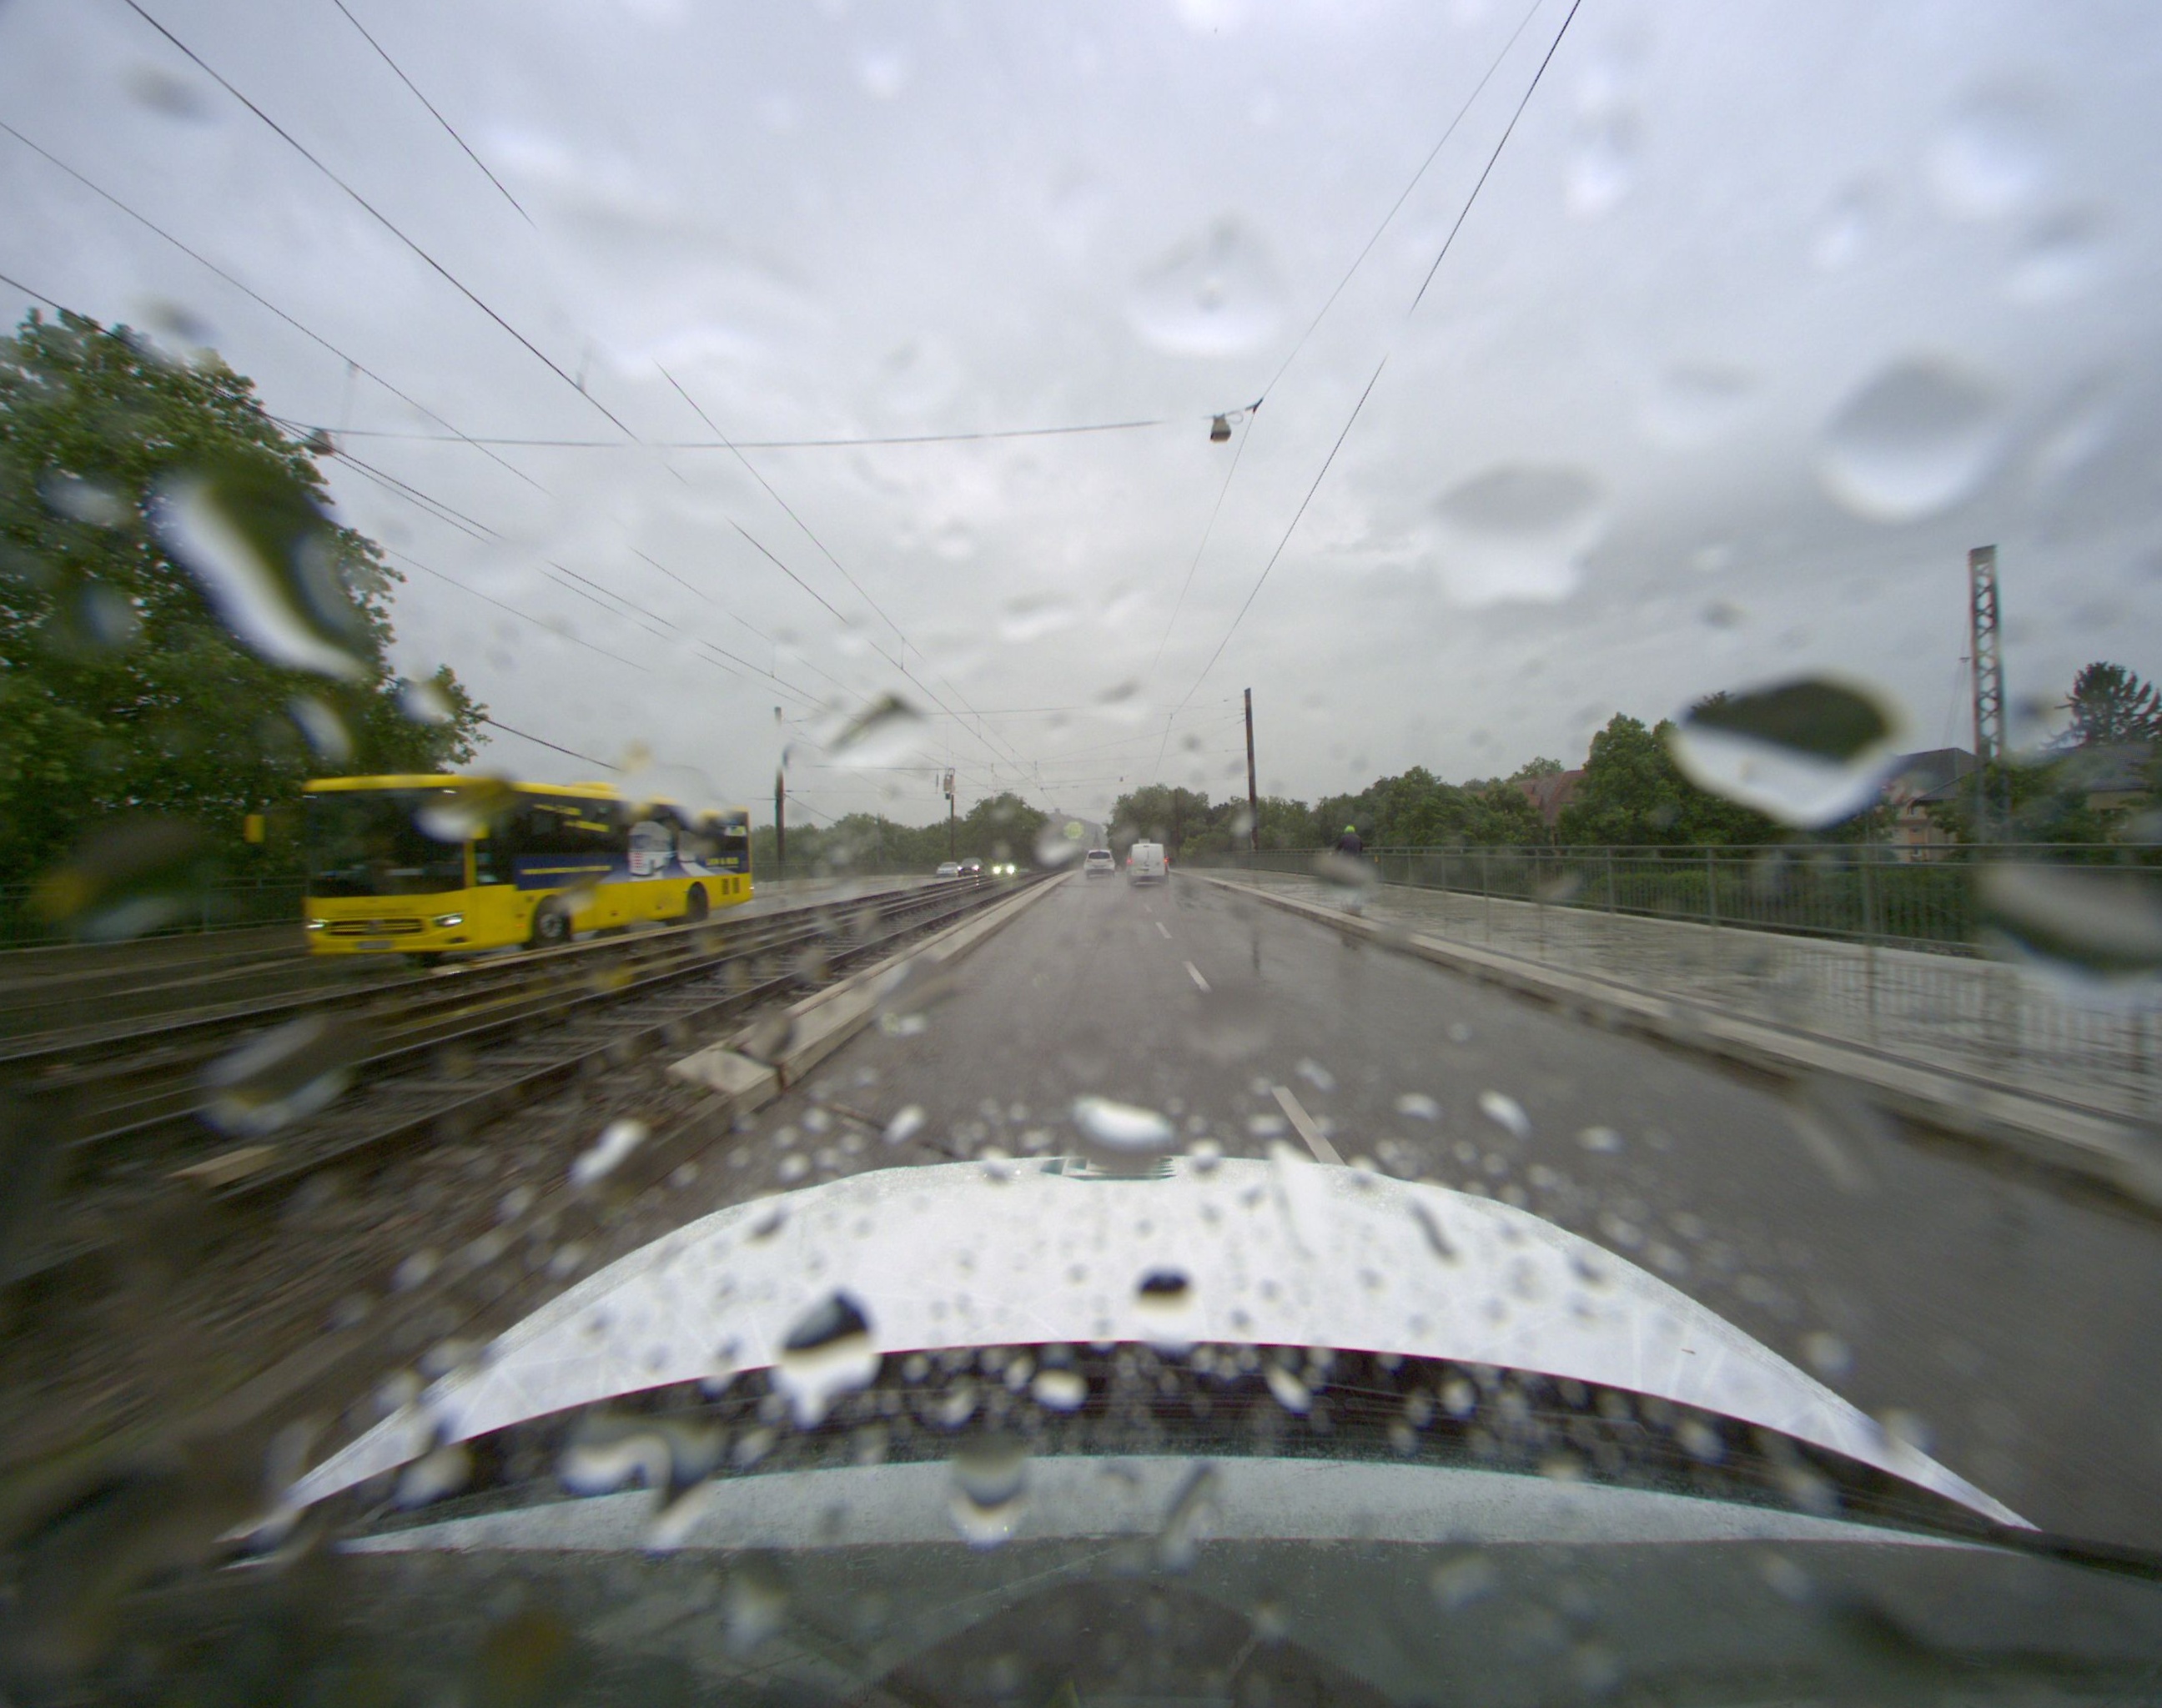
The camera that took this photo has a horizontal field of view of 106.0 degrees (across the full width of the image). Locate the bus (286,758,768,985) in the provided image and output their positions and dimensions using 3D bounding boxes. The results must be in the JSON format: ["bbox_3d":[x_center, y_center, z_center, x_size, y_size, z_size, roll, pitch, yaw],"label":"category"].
[{"bbox_3d":[-10.619,0.183,18.008,2.698,3.340,10.997,-3,1,2],"label":"bus"}]

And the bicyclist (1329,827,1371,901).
[{"bbox_3d":[6.534,0.245,19.829,0.723,1.764,0.949,0,-2,2],"label":"bicyclist"}]

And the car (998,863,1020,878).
[{"bbox_3d":[-7.899,1.859,89.733,1.988,1.509,5.111,-3,-2,-1],"label":"car"}]

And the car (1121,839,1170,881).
[{"bbox_3d":[2.767,0.290,35.007,1.985,1.726,4.004,0,-2,4],"label":"car"}]

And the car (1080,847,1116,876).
[{"bbox_3d":[1.060,0.488,49.342,1.985,1.717,4.004,0,-2,4],"label":"car"}]

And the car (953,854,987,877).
[{"bbox_3d":[-9.388,1.001,69.022,1.986,1.717,4.942,-3,-2,1],"label":"car"}]

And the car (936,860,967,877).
[{"bbox_3d":[-12.143,1.409,76.444,1.987,1.456,4.620,-3,-2,1],"label":"car"}]

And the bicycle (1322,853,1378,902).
[{"bbox_3d":[6.520,0.559,19.848,0.720,1.129,2.168,0,-1,2],"label":"bicycle"}]
